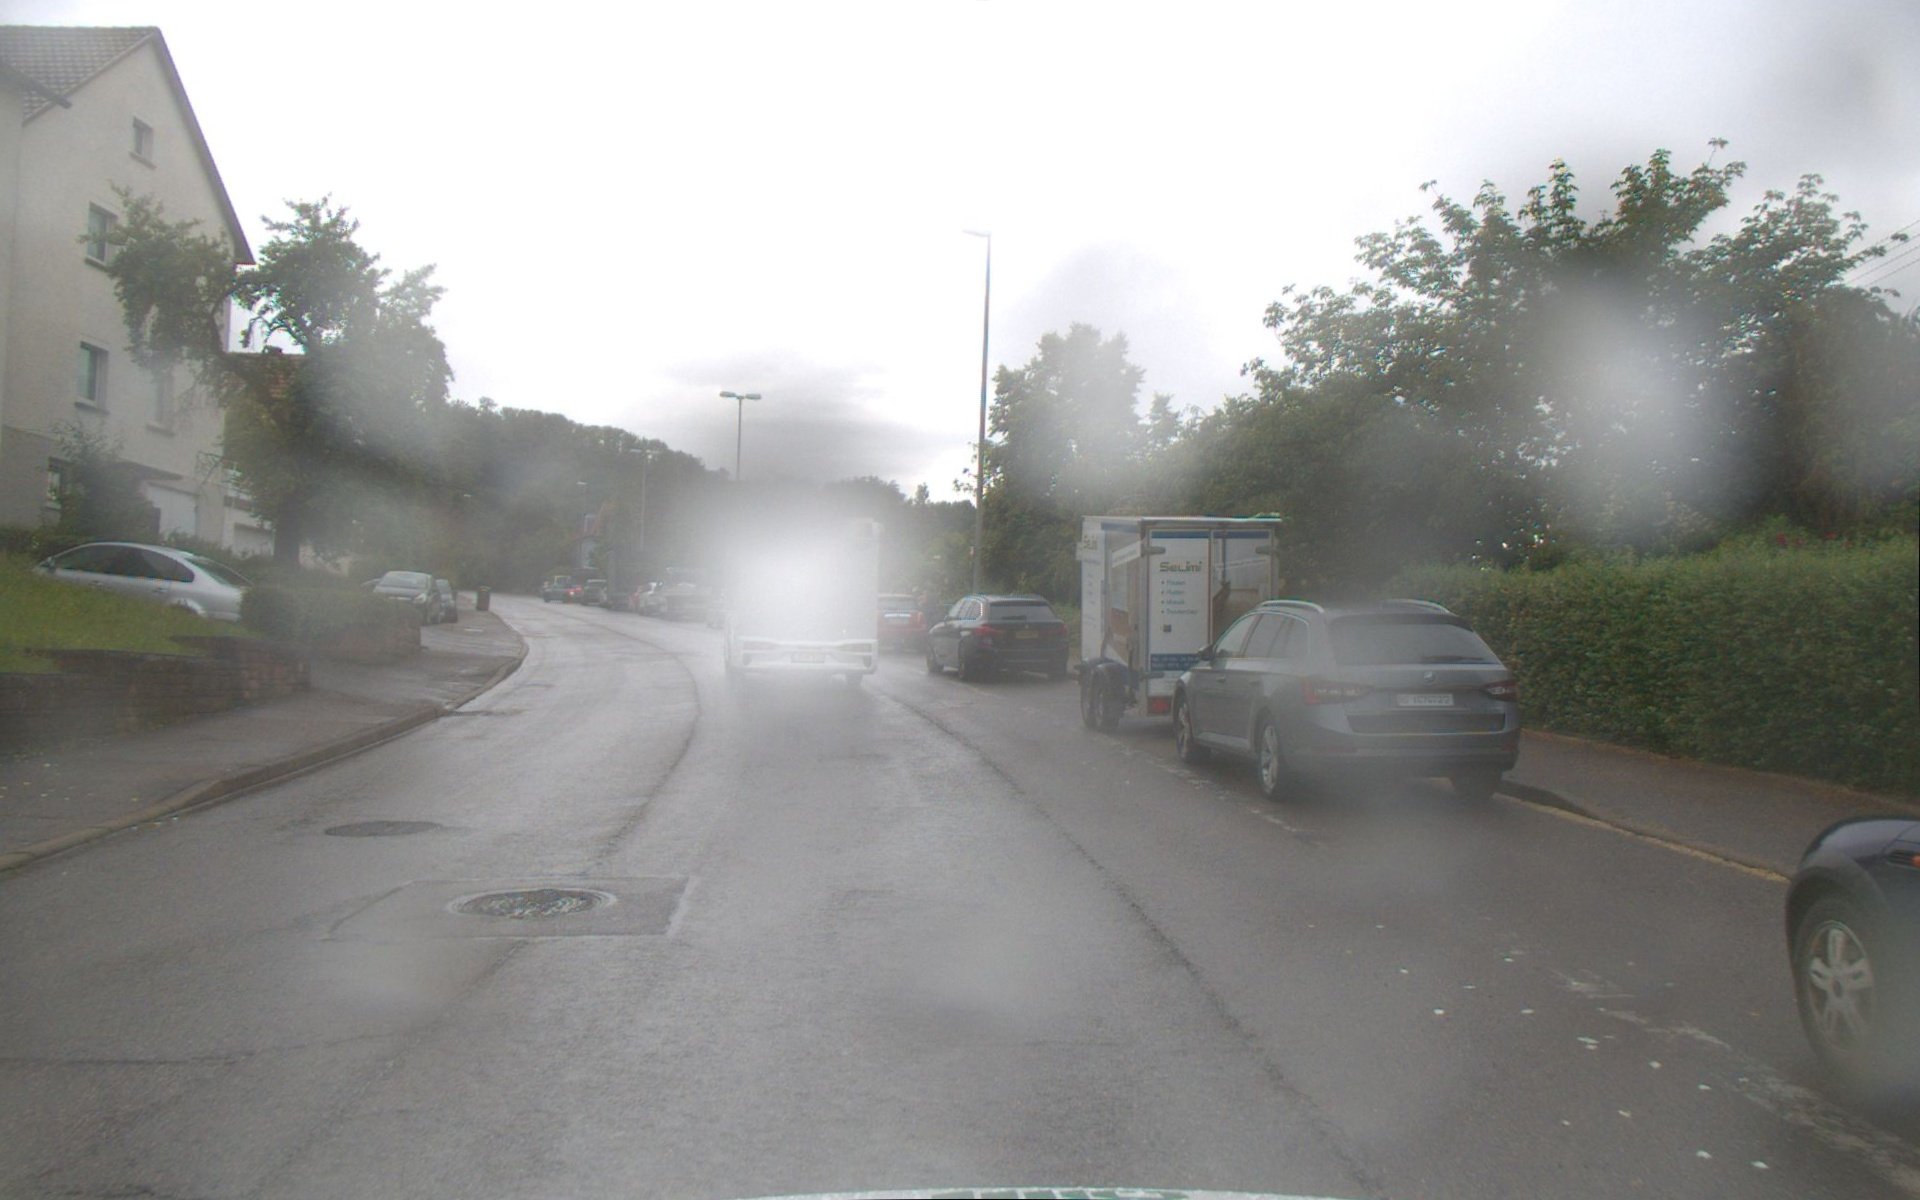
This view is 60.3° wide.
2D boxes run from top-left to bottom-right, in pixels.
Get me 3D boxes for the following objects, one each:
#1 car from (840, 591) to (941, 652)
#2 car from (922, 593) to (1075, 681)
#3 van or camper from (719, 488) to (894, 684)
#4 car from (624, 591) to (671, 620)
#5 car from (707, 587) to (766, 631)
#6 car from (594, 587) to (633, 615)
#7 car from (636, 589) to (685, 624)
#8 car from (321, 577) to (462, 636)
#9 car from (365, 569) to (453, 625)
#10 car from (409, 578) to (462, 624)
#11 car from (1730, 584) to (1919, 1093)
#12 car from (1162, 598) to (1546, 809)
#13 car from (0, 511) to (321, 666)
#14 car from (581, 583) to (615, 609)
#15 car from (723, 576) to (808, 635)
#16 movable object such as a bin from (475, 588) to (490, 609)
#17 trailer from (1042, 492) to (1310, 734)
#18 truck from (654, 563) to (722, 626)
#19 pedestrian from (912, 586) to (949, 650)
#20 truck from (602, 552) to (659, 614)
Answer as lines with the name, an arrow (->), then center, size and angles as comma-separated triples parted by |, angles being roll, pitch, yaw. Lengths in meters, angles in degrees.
car -> -1.801, 0.513, 41.612 | 1.707, 1.439, 3.836 | 1, 0, -15
car -> 0.611, 0.622, 30.368 | 1.761, 1.485, 4.774 | 1, 0, -12
van or camper -> -2.769, -0.124, 28.383 | 2.567, 2.903, 6.019 | 3, -2, -8
car -> -16.905, 0.294, 89.274 | 1.804, 1.463, 4.960 | 1, 0, -19
car -> -8.516, 0.321, 62.743 | 1.621, 1.590, 3.945 | 1, 0, -16
car -> -21.846, 0.055, 104.226 | 1.817, 1.713, 5.610 | 1, 0, -18
car -> -14.674, 0.324, 80.966 | 1.732, 1.632, 4.642 | 1, 0, -18
car -> -17.967, 0.205, 52.369 | 3.752, 1.503, 1.802 | -5, 0, -3
car -> -15.868, -0.084, 47.813 | 1.734, 1.400, 4.236 | 5, -1, -11
car -> -19.426, 0.035, 61.284 | 1.775, 1.625, 4.395 | 1, 0, -18
car -> 3.620, 0.704, 4.145 | 1.600, 1.482, 3.700 | 1, 0, -1
car -> 3.023, 0.725, 13.785 | 1.713, 1.449, 4.698 | 1, 0, -5
car -> -11.738, -0.167, 23.856 | 4.169, 1.455, 1.767 | 10, -1, 2
car -> -24.421, -0.260, 111.466 | 1.905, 1.701, 4.674 | 1, 0, -16
car -> -6.775, 0.188, 57.124 | 1.821, 1.915, 4.882 | 1, 0, -20
movable object such as a bin -> -22.034, -0.056, 76.316 | 0.594, 0.944, 0.560 | 3, -1, -22
trailer -> 2.393, 0.150, 19.942 | 1.912, 2.499, 5.426 | 1, 0, -7
truck -> -12.351, -0.233, 74.796 | 2.203, 2.677, 6.508 | 1, 0, -17
pedestrian -> -0.775, 0.471, 43.156 | 0.696, 1.663, 0.713 | 1, 0, -26
truck -> -19.235, -0.942, 96.215 | 2.398, 3.393, 7.925 | 1, 0, -18
